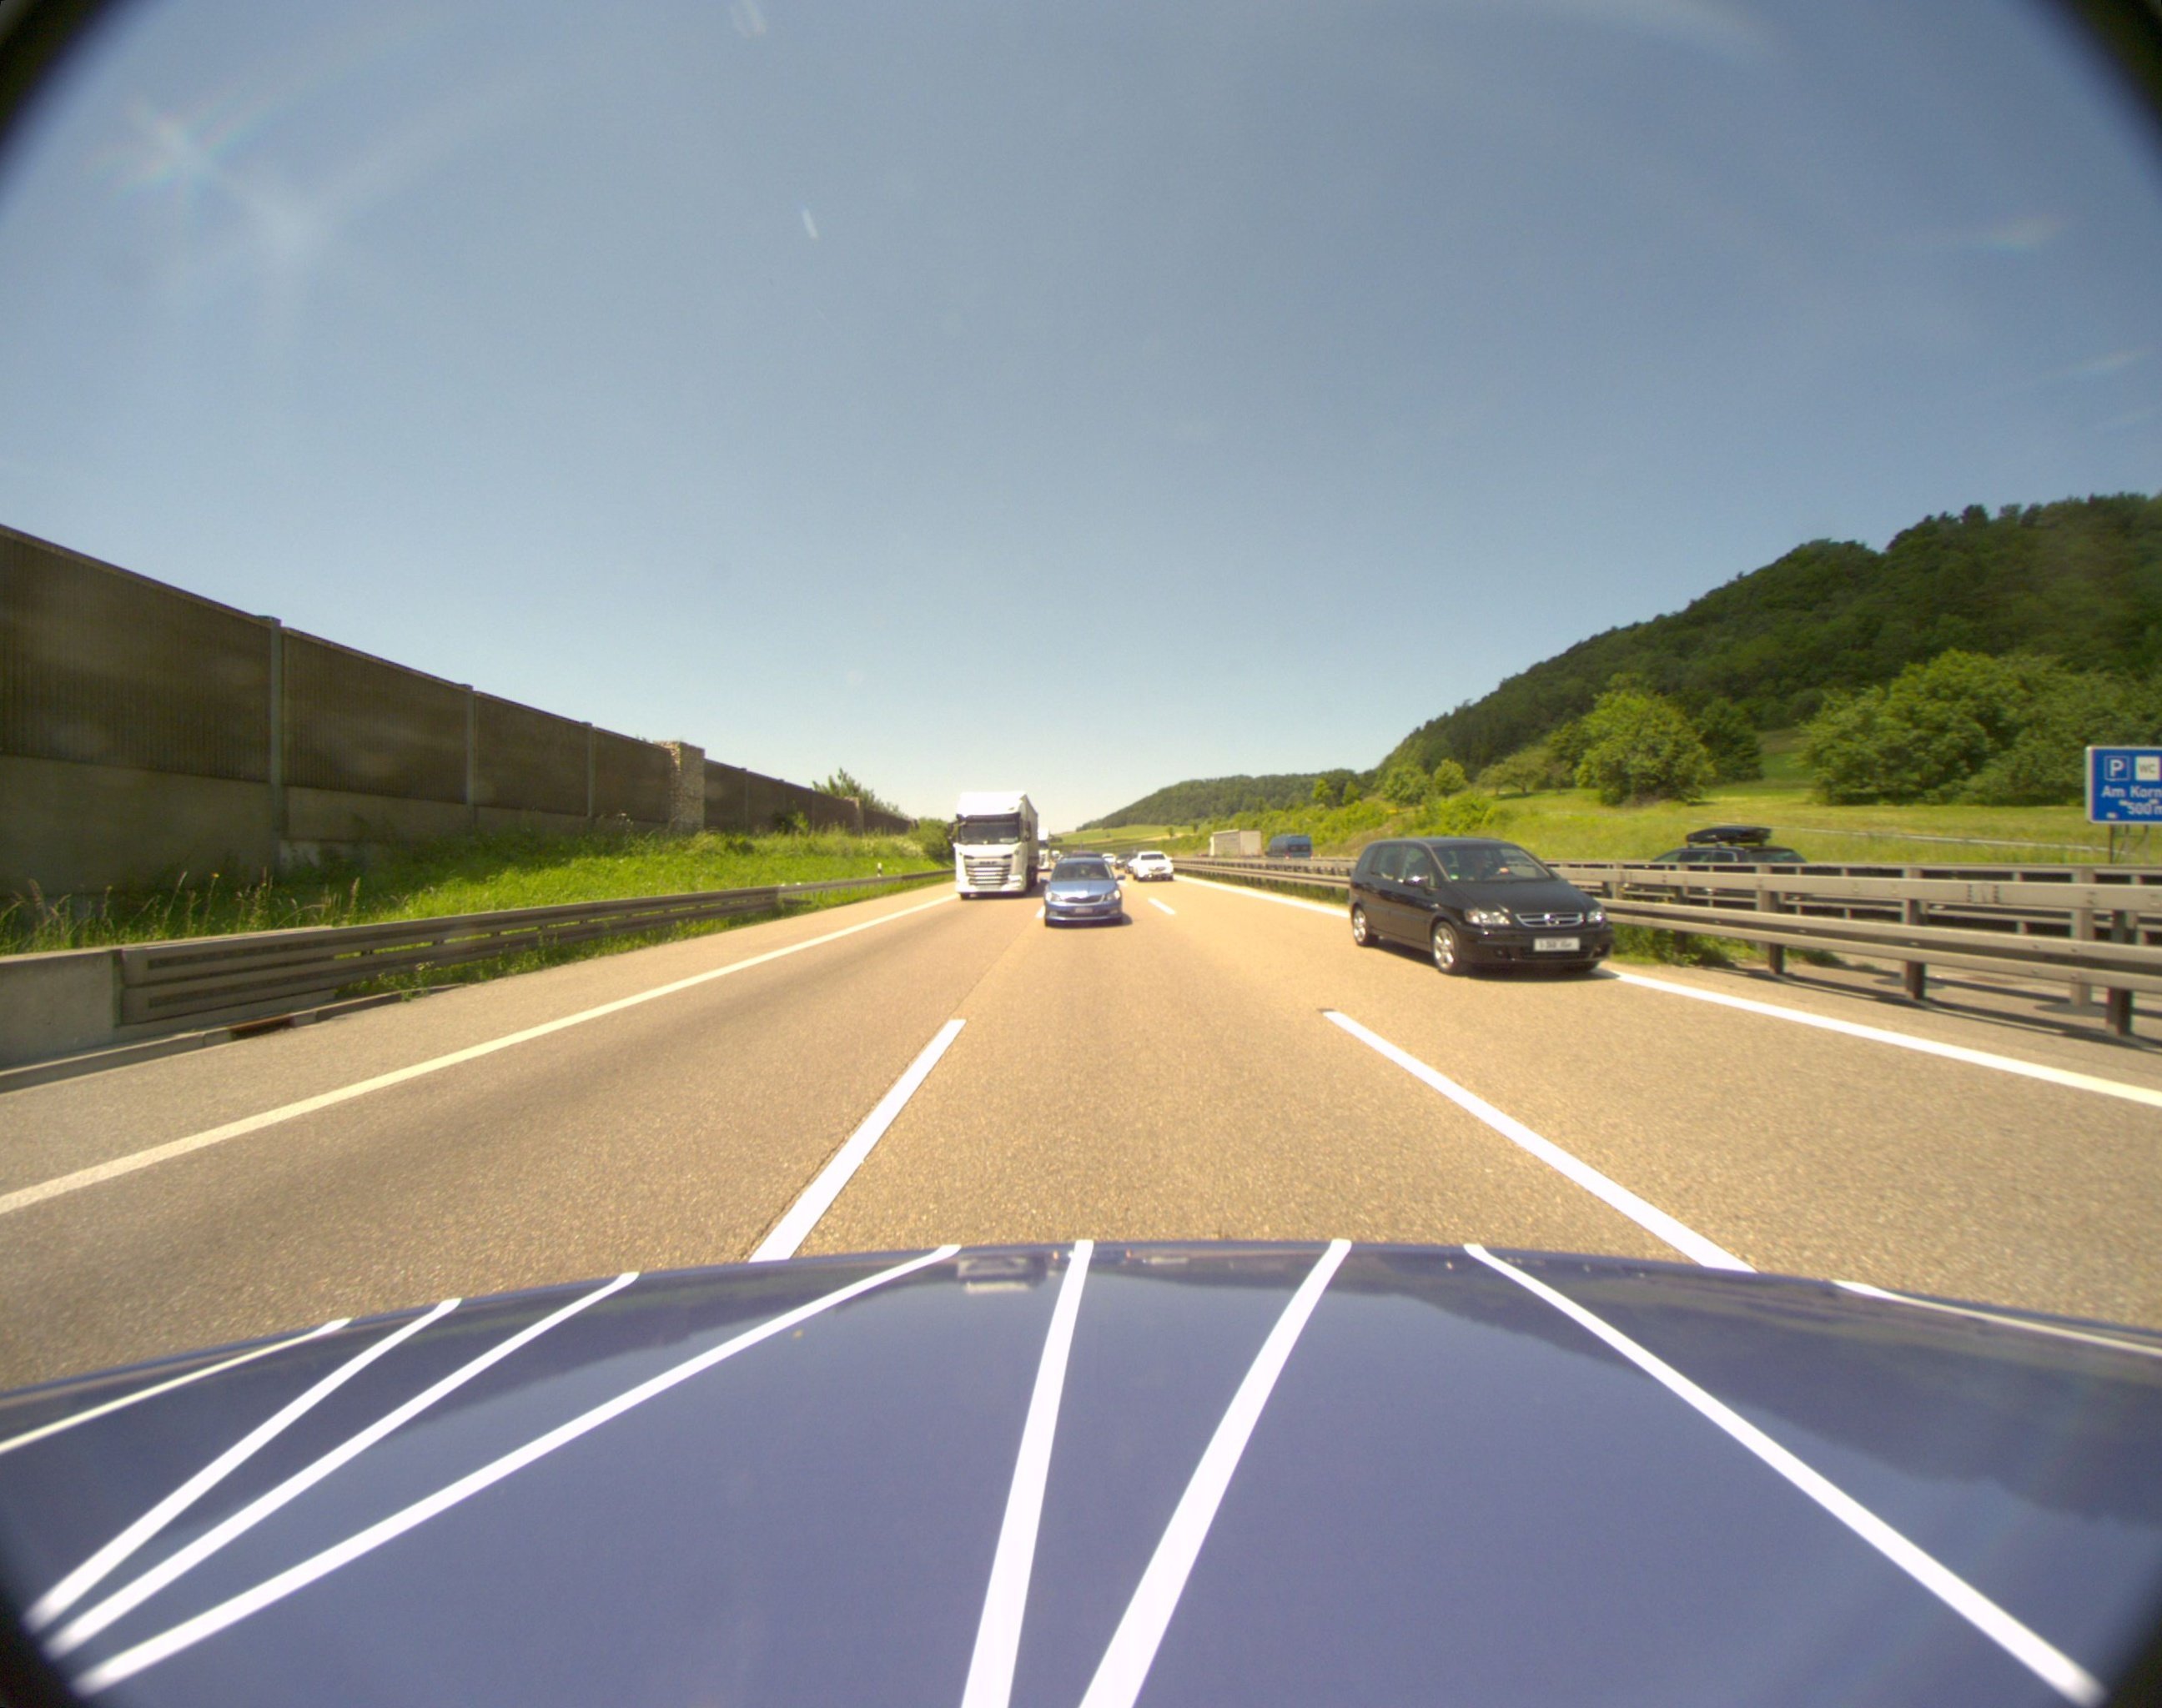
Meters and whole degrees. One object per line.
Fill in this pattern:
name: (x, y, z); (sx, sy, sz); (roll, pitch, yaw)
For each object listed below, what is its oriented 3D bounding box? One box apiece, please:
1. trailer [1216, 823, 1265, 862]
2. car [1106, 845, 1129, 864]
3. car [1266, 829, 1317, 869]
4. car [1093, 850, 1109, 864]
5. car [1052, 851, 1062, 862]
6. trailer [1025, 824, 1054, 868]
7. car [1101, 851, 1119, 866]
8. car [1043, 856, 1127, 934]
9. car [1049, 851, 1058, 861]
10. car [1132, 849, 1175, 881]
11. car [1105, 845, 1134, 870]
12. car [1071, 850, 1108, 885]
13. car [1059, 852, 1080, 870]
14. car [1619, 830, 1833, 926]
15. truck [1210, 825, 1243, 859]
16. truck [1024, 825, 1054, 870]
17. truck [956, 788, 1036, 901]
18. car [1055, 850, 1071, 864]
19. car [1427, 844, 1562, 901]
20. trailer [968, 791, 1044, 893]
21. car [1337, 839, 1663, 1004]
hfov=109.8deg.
trailer: (18.986, -1.391, 91.588); (2.862, 4.167, 13.612); (-2, 1, 0)
car: (3.461, 0.009, 72.829); (1.998, 1.702, 4.000); (-2, 1, 1)
car: (16.282, -0.405, 59.174); (2.161, 2.846, 6.398); (-2, 1, 0)
car: (2.724, 0.396, 104.007); (1.998, 1.702, 4.000); (-2, 1, 1)
car: (-4.694, 0.421, 148.694); (1.999, 2.002, 3.998); (-2, 1, -2)
trailer: (-4.409, -0.818, 78.874); (2.545, 4.085, 13.621); (-2, 1, -4)
car: (3.509, 0.570, 92.498); (1.998, 1.702, 4.000); (-2, 1, 1)
car: (0.001, 0.833, 17.525); (1.660, 1.481, 4.652); (-1, 0, -2)
car: (-6.487, 0.468, 178.052); (1.999, 2.002, 3.998); (-2, 1, -2)
car: (3.898, 0.548, 41.204); (1.998, 1.612, 4.000); (-2, 1, 1)
car: (2.882, 0.217, 56.988); (1.998, 1.692, 4.000); (-2, 1, 1)
car: (0.420, 0.633, 38.334); (1.737, 1.674, 4.197); (-1, 0, 0)
car: (-1.244, 0.732, 79.979); (1.999, 1.702, 3.998); (-2, 1, -2)
car: (15.901, 0.524, 19.091); (1.890, 2.106, 4.284); (-2, 0, 3)
truck: (18.694, -1.549, 98.081); (2.805, 4.208, 7.229); (-2, 1, 0)
truck: (-4.059, -0.633, 73.133); (2.532, 4.065, 6.077); (-2, 1, -4)
truck: (-3.204, -0.358, 30.176); (2.484, 3.954, 6.380); (-1, 0, -1)
car: (-2.459, 0.427, 101.735); (1.999, 1.702, 3.998); (-2, 1, -2)
car: (11.939, 0.477, 22.266); (1.772, 1.476, 4.024); (-2, 0, 0)
trailer: (-3.306, -0.504, 36.835); (2.484, 3.954, 13.652); (-1, 0, -1)
car: (4.980, 0.669, 9.901); (1.805, 1.625, 4.445); (-1, 0, 0)
